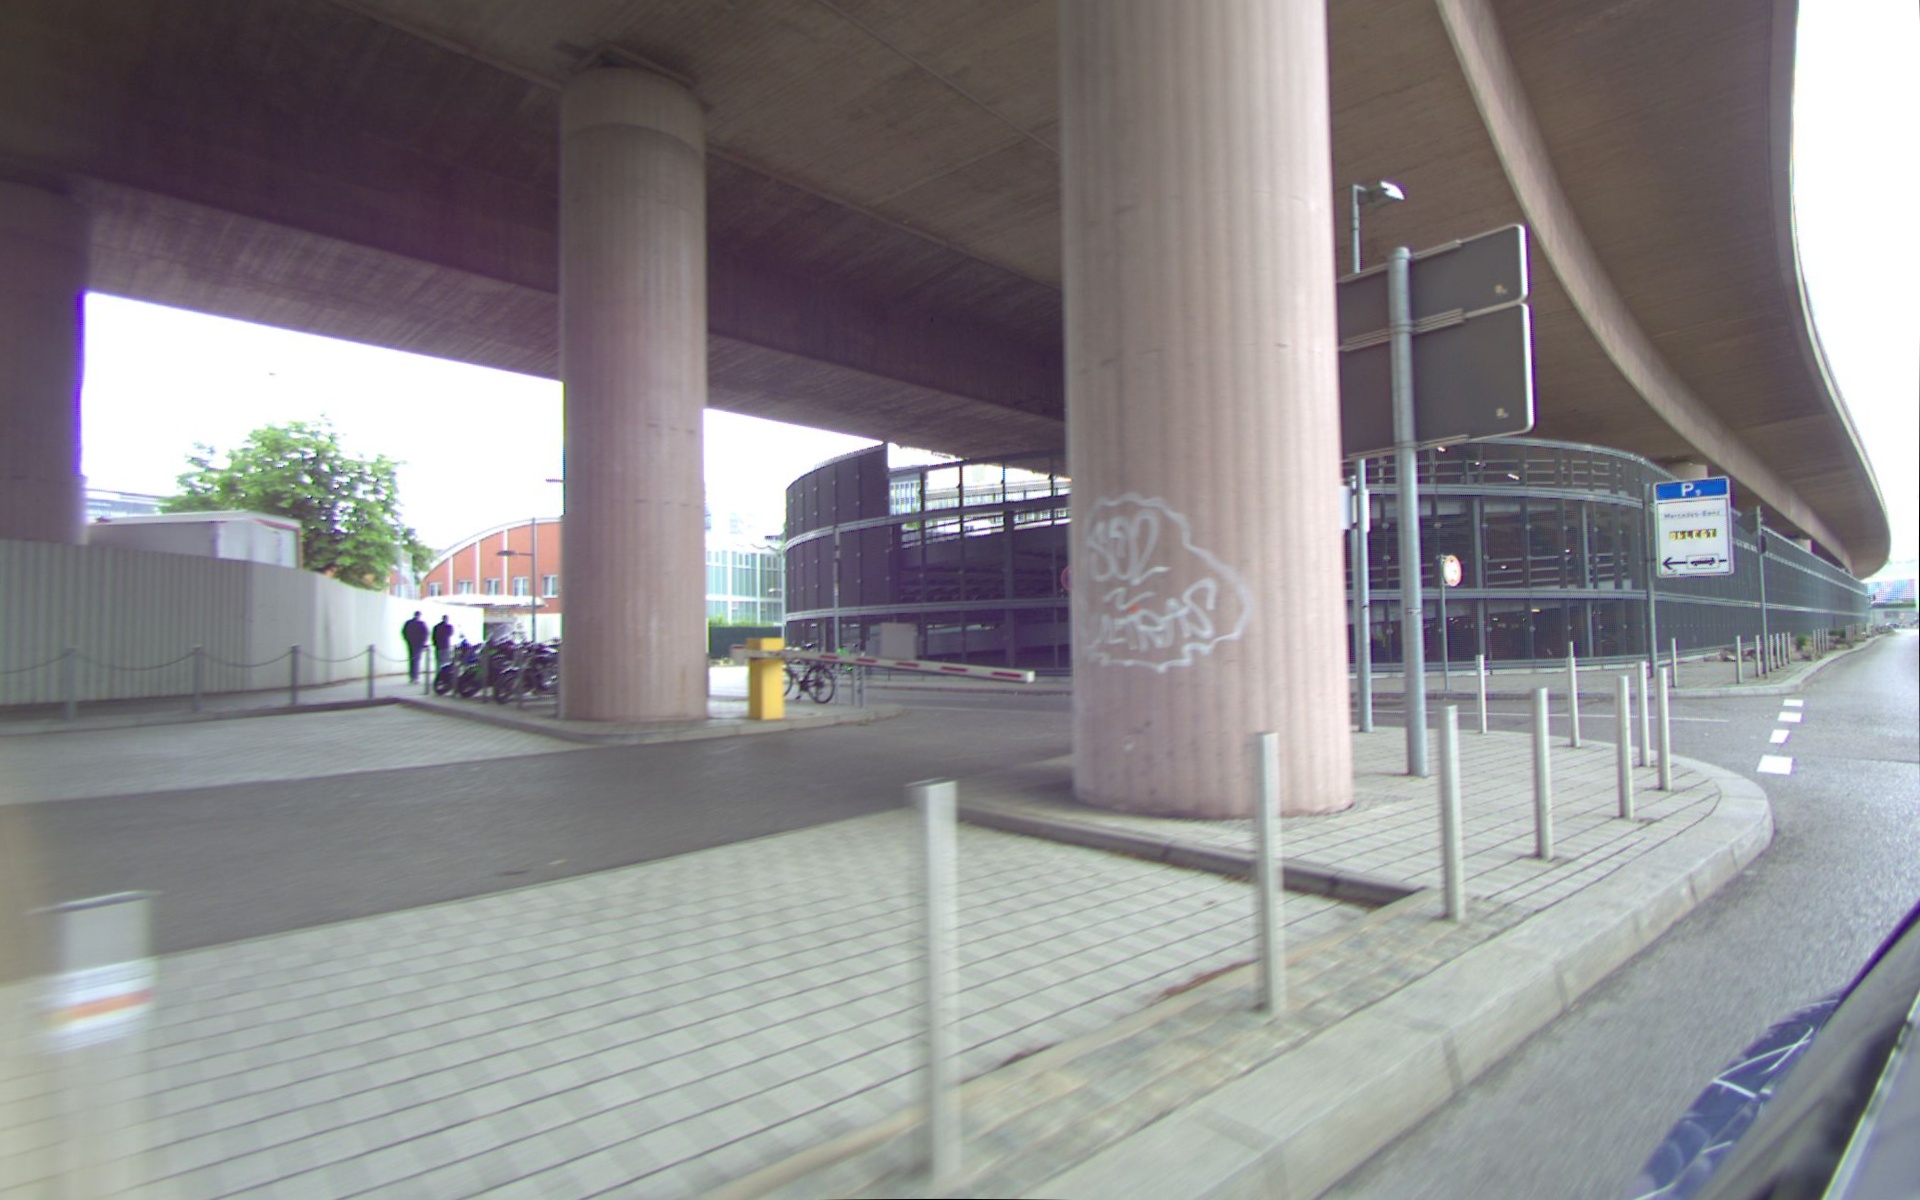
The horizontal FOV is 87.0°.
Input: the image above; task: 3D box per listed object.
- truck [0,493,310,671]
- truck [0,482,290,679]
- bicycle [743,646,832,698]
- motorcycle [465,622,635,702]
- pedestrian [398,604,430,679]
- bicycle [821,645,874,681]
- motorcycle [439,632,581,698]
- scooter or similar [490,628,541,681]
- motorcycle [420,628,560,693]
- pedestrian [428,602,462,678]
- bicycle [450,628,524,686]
[{"bbox_3d":[-22.008,-0.423,25.962,8.593,4.292,2.914,0,-1,-6],"label":"truck"},{"bbox_3d":[-20.635,-0.411,23.065,8.593,4.212,2.914,0,-1,-6],"label":"truck"},{"bbox_3d":[-3.318,1.360,19.359,2.006,0.938,0.413,-2,-3,37],"label":"bicycle"},{"bbox_3d":[-6.794,1.020,16.896,2.492,1.251,0.783,3,-3,-42],"label":"motorcycle"},{"bbox_3d":[-13.576,1.024,25.162,0.641,1.850,0.499,-2,-3,38],"label":"pedestrian"},{"bbox_3d":[-3.460,1.916,30.962,1.776,1.093,0.431,-2,-3,35],"label":"bicycle"},{"bbox_3d":[-8.063,1.137,18.244,0.543,1.120,2.291,-3,-3,45],"label":"motorcycle"},{"bbox_3d":[-10.940,1.362,24.953,0.533,1.235,1.680,2,-4,-4],"label":"scooter or similar"},{"bbox_3d":[-8.812,1.163,19.071,0.571,1.120,2.293,-2,-6,42],"label":"motorcycle"},{"bbox_3d":[-12.763,0.989,25.101,0.691,1.850,0.499,-2,-3,37],"label":"pedestrian"},{"bbox_3d":[-9.832,1.207,21.136,0.608,1.120,2.330,2,-4,-6],"label":"bicycle"}]
